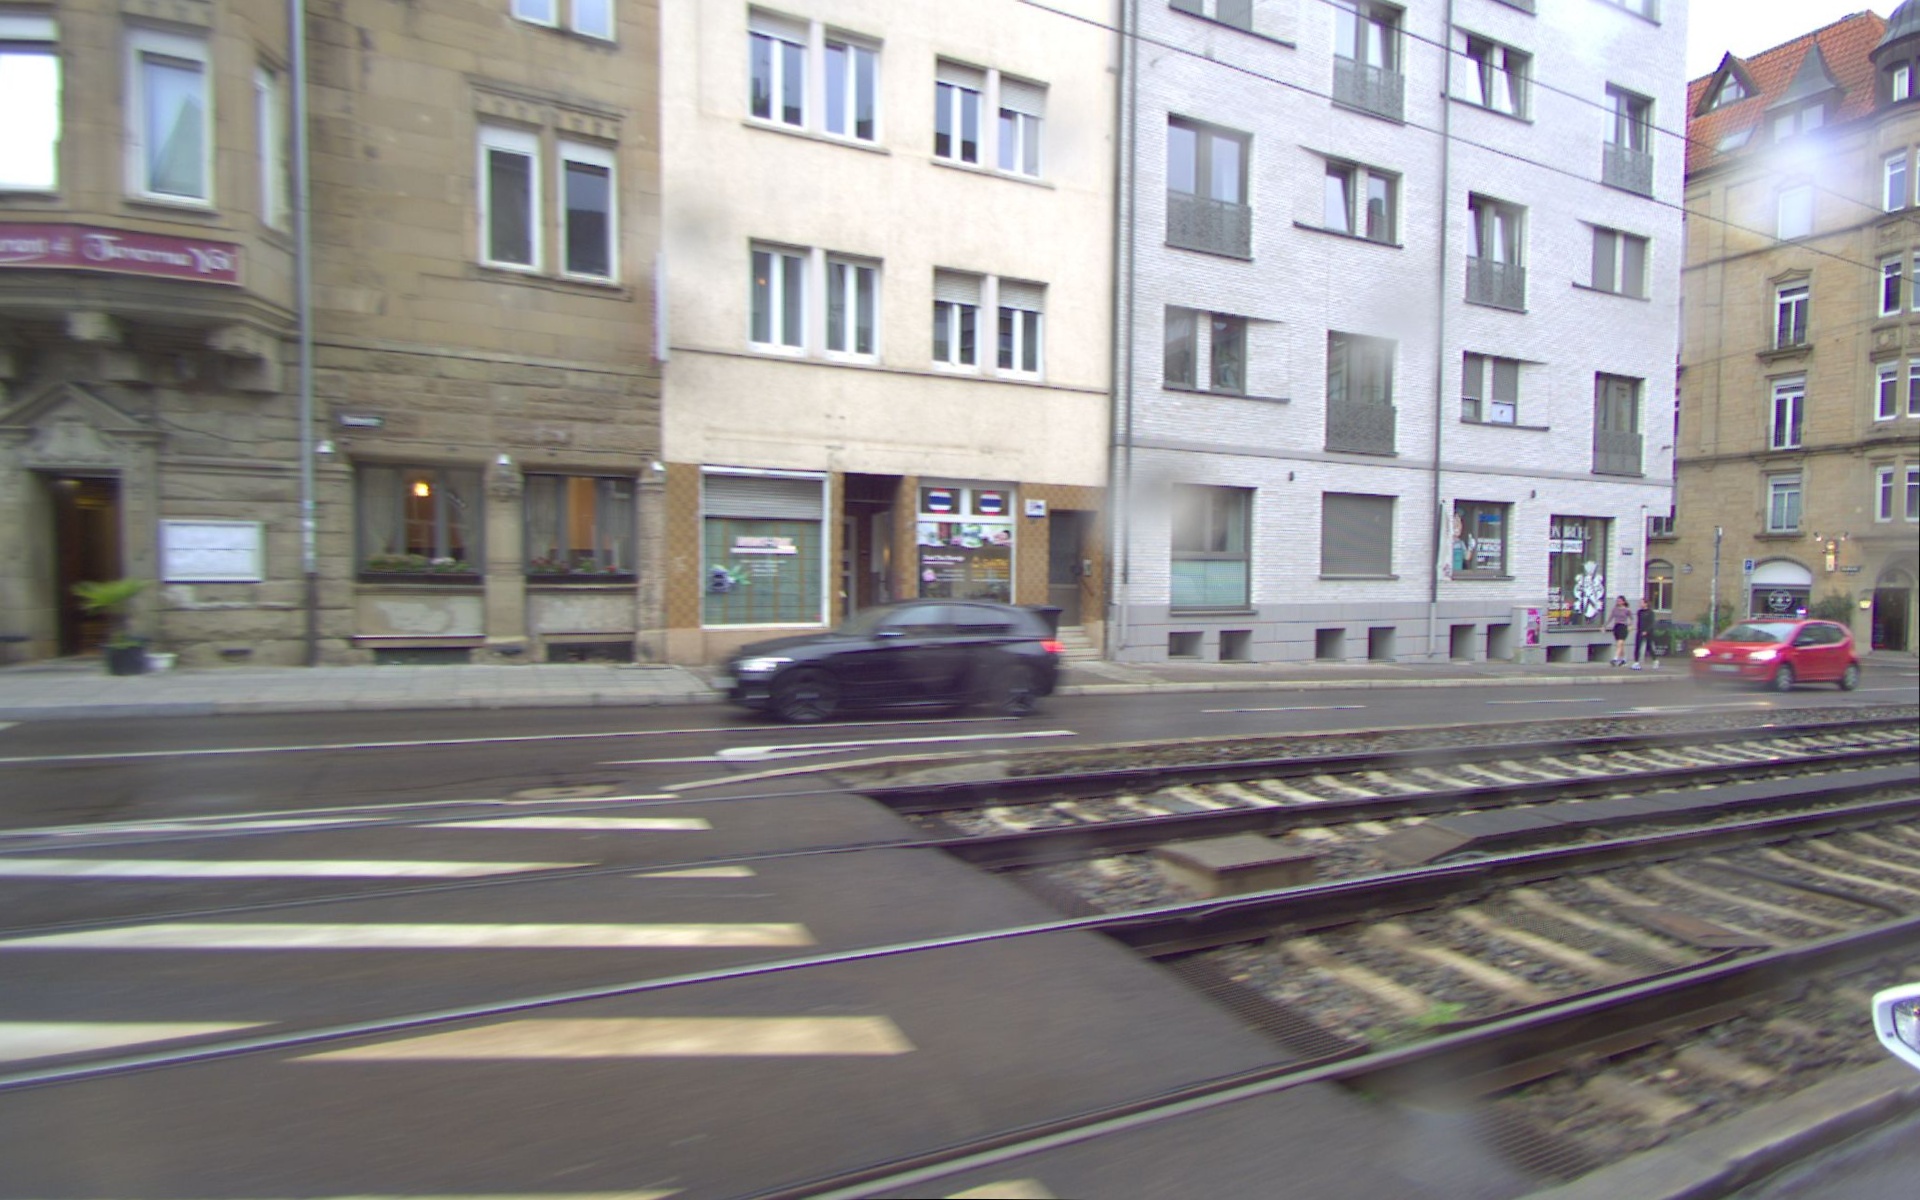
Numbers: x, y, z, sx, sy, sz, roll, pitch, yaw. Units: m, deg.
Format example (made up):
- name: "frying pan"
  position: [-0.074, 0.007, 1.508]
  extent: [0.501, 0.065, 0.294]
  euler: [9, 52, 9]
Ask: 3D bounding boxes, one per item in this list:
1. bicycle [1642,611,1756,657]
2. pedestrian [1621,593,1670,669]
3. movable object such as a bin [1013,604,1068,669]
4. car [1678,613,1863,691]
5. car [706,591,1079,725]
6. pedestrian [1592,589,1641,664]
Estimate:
- name: "bicycle"
  position: [27.435, 1.221, 37.339]
  extent: [1.583, 1.605, 3.123]
  euler: [1, -1, -37]
- name: "pedestrian"
  position: [16.756, 0.766, 24.554]
  extent: [0.870, 1.810, 0.627]
  euler: [3, -2, -27]
- name: "movable object such as a bin"
  position: [1.447, 0.642, 18.070]
  extent: [0.678, 1.088, 0.710]
  euler: [1, 4, -26]
- name: "car"
  position: [17.061, 1.063, 21.156]
  extent: [3.470, 1.517, 1.676]
  euler: [1, -1, -25]
- name: "car"
  position: [-0.823, 0.669, 12.467]
  extent: [4.217, 1.415, 1.942]
  euler: [1, -1, -26]
- name: "pedestrian"
  position: [16.450, 0.666, 25.177]
  extent: [0.912, 1.810, 0.638]
  euler: [3, -2, -27]
